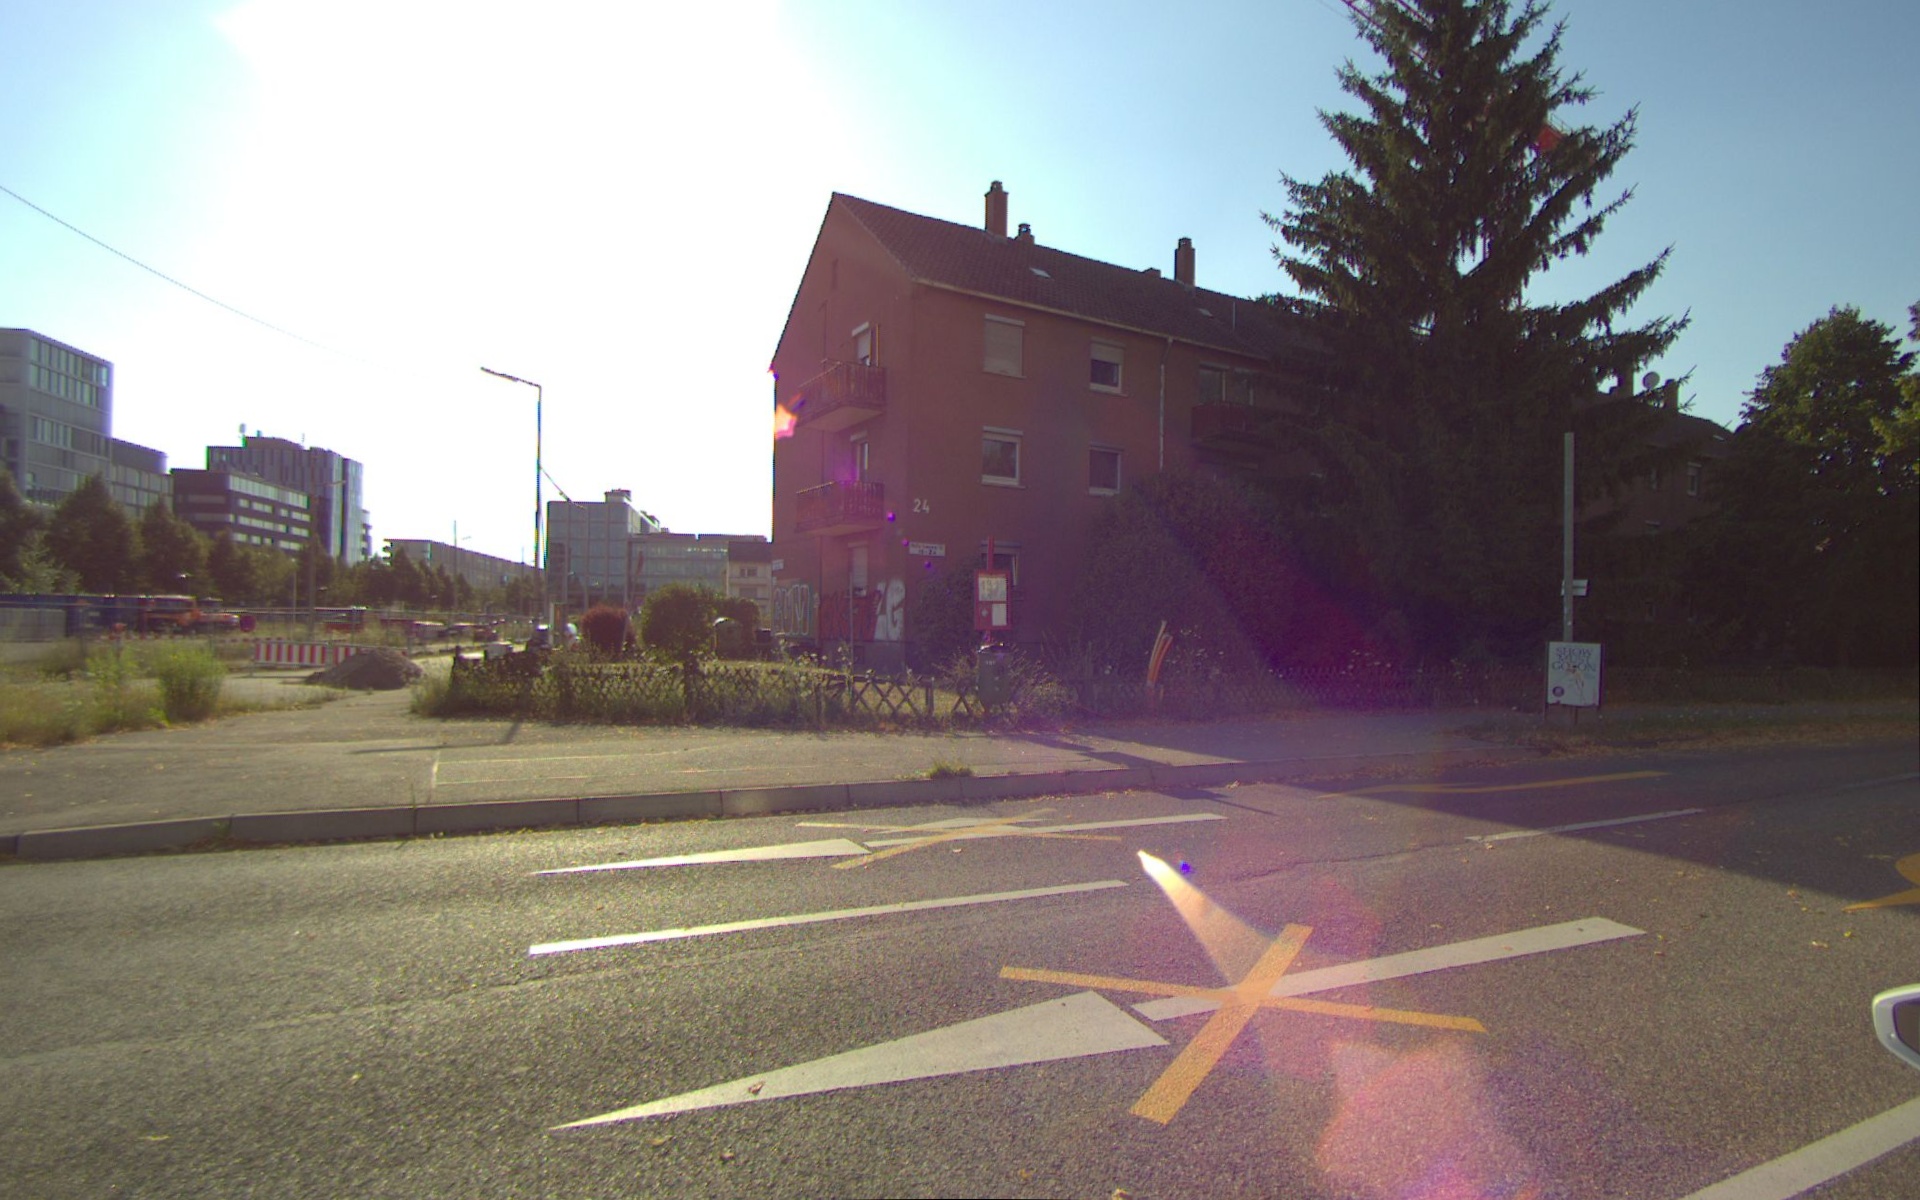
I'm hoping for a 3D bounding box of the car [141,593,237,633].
[{"bbox_3d":[-50.602,0.903,66.100,2.489,2.472,5.925,1,-2,-10],"label":"car"}]

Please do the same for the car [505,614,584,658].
[{"bbox_3d":[-15.661,1.351,38.062,1.965,1.572,3.992,1,-2,-11],"label":"car"}]

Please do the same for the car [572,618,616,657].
[{"bbox_3d":[-19.433,1.969,53.472,1.837,1.973,3.988,1,-2,-15],"label":"car"}]
